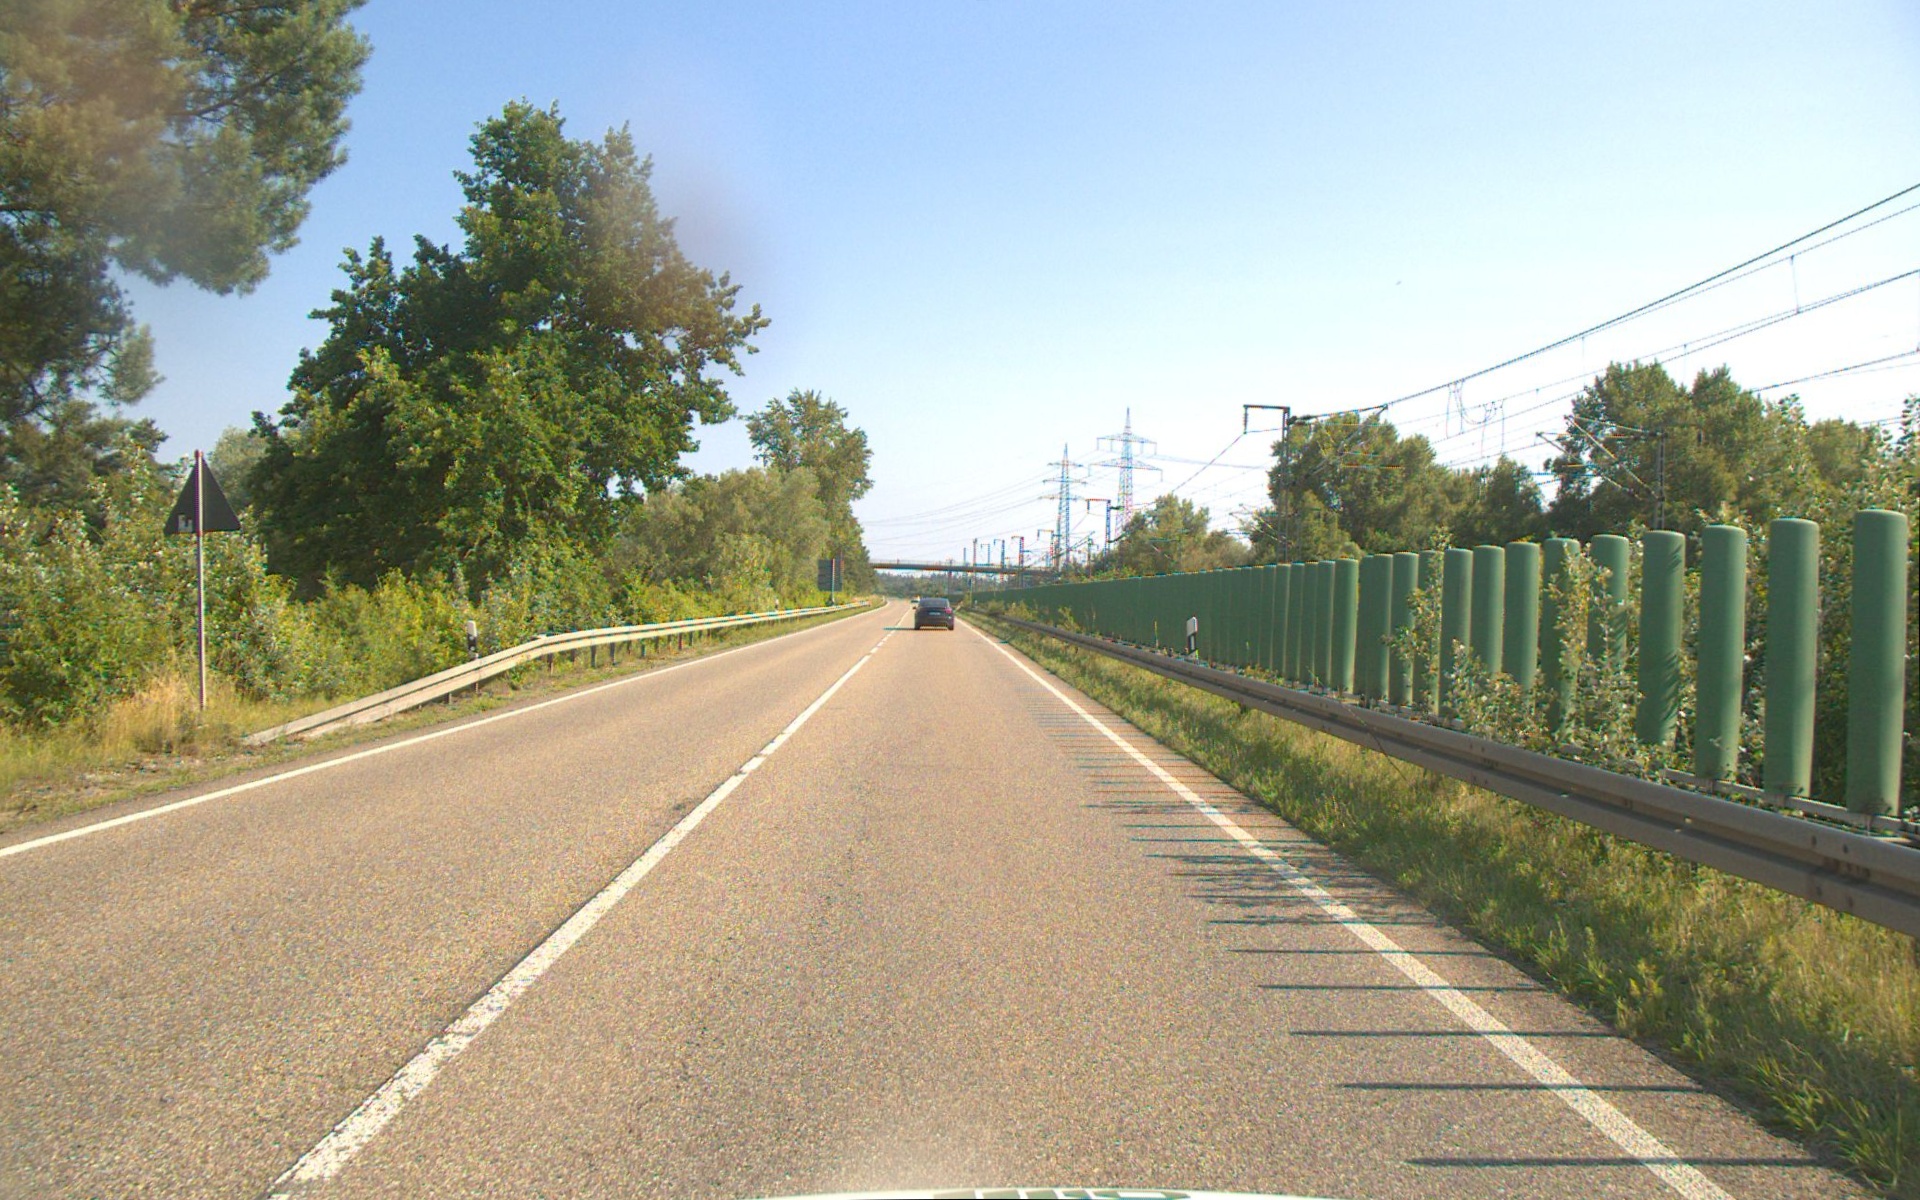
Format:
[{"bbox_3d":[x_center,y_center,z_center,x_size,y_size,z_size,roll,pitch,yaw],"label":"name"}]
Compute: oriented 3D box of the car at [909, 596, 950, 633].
[{"bbox_3d":[-1.449,0.639,76.678,1.821,1.670,3.998,0,0,-2],"label":"car"}]
